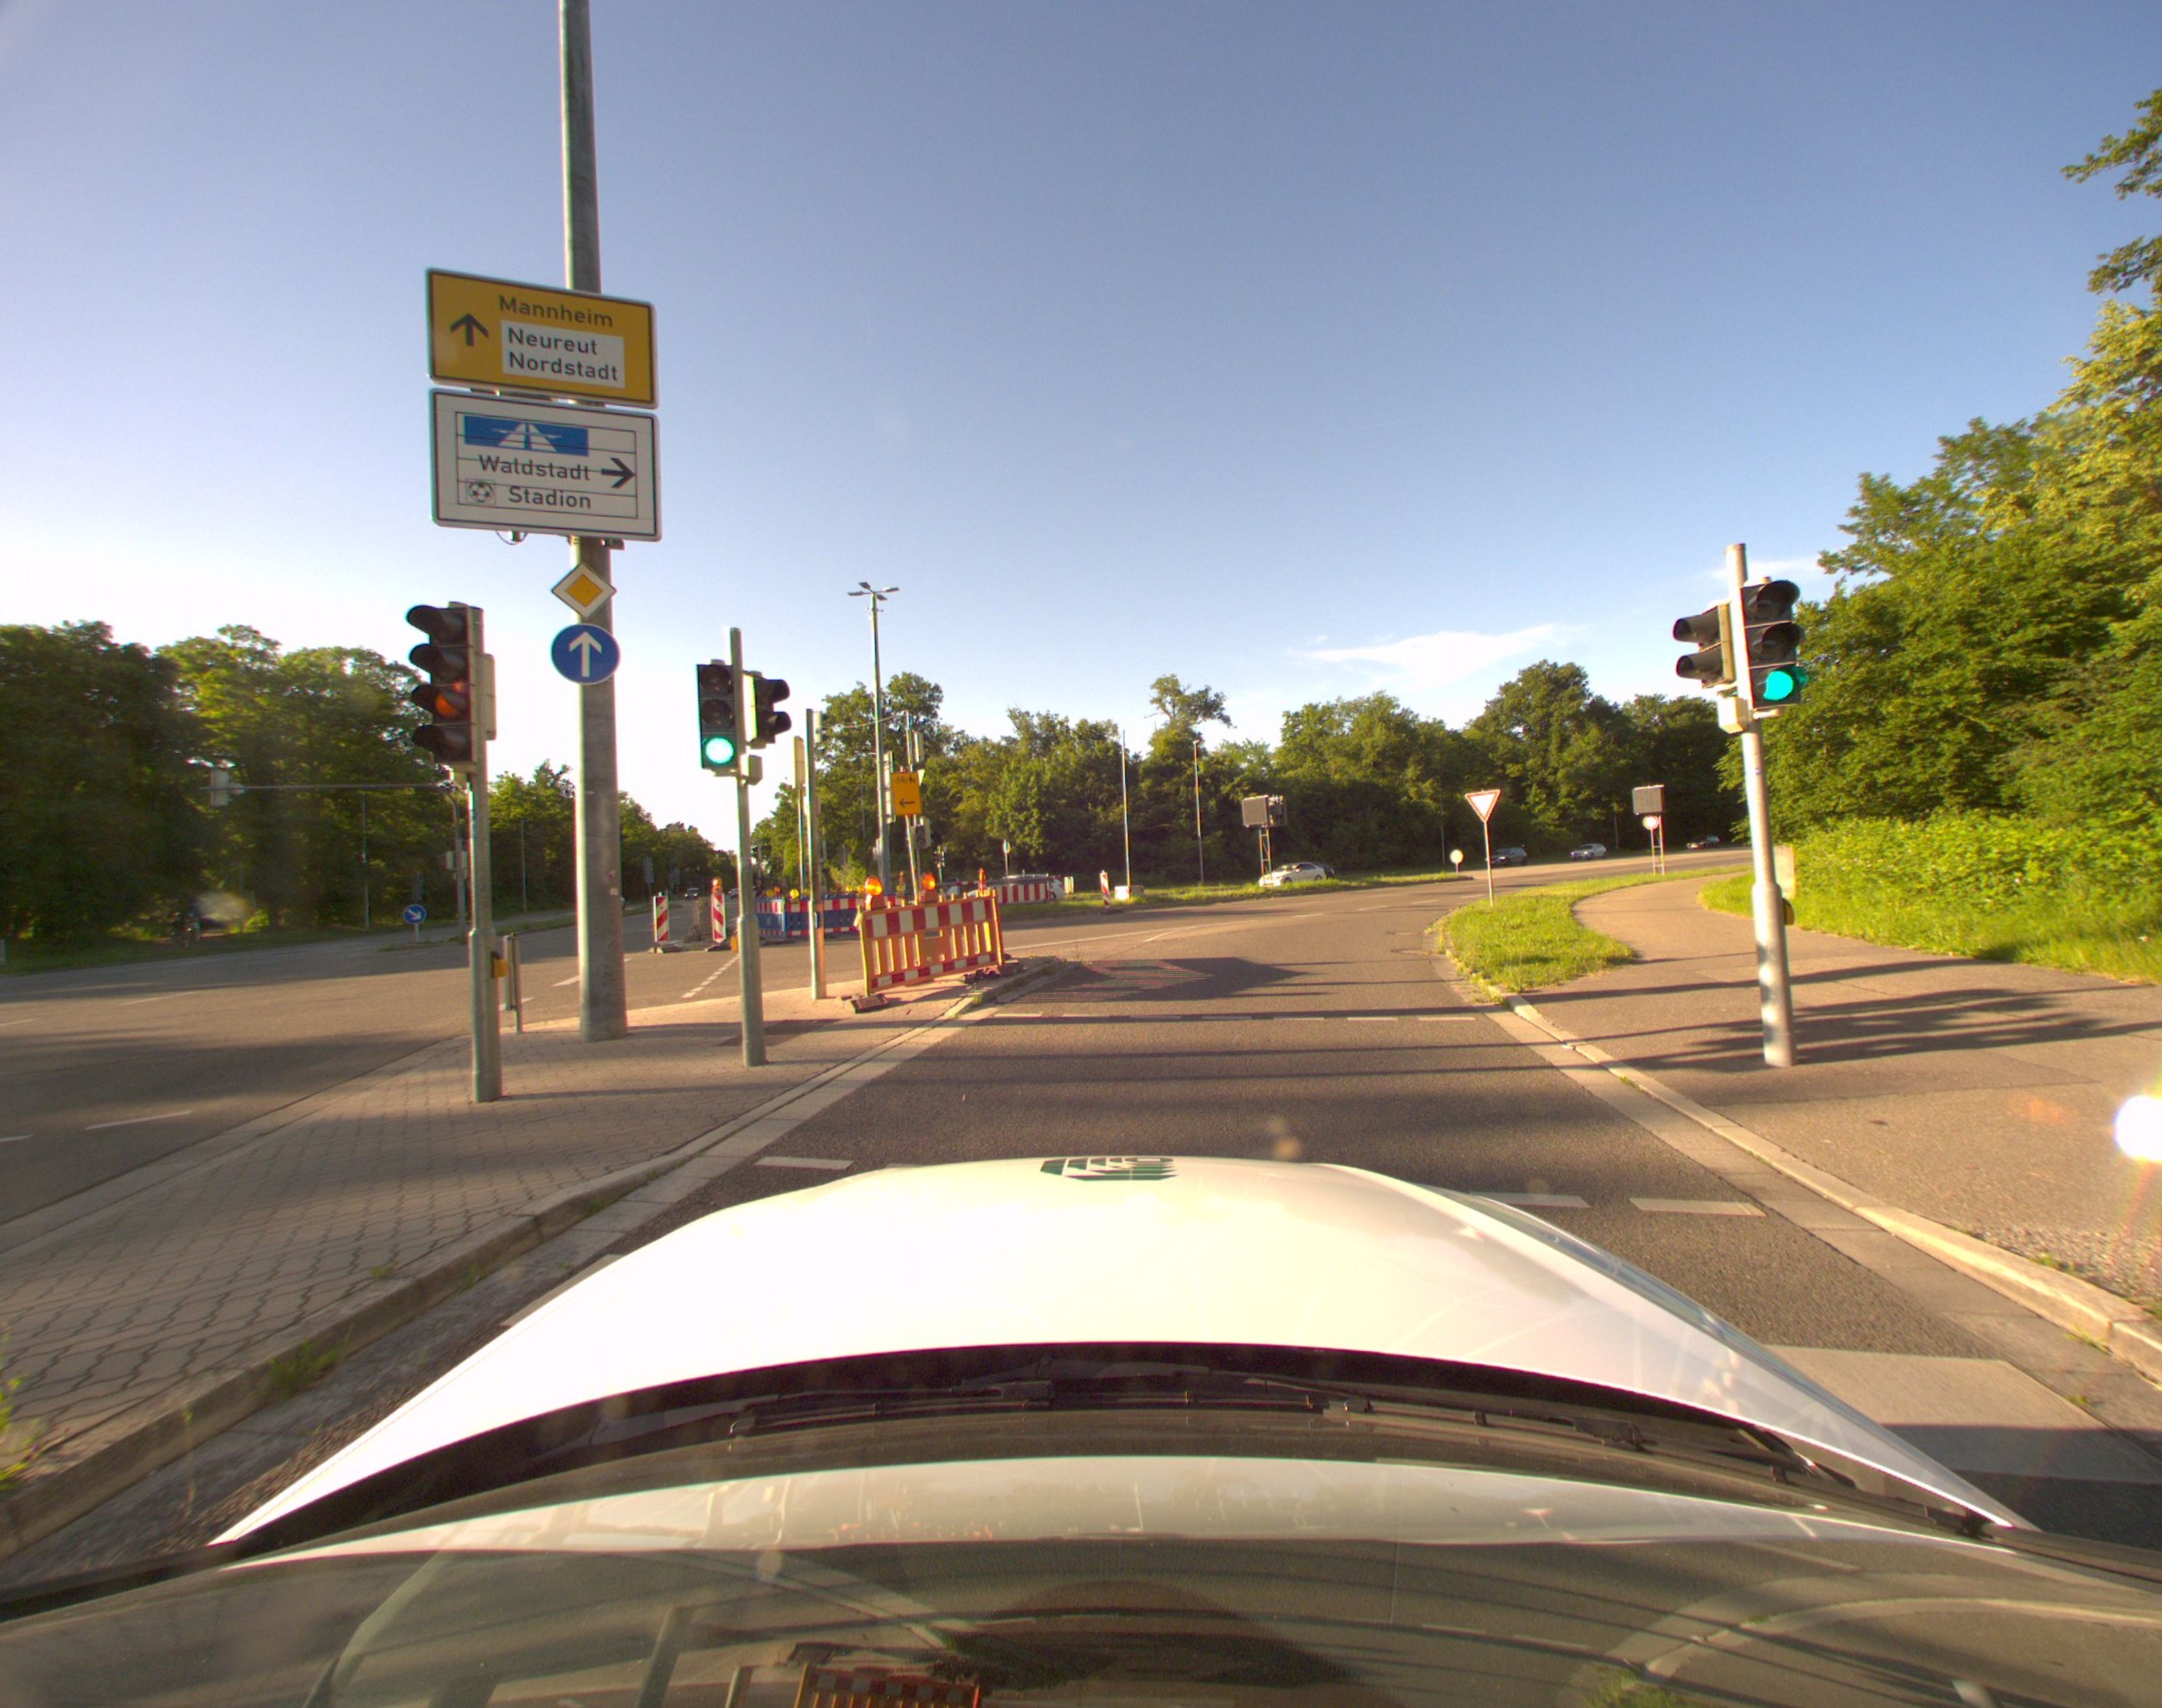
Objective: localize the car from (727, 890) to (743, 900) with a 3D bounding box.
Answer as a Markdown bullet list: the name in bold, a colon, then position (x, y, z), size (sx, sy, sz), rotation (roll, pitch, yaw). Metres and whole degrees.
- **car**: position (-53.851, 6.382, 126.855), size (1.868, 1.444, 3.975), rotation (-2, -2, -18)

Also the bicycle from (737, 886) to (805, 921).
- **bicycle**: position (-13.604, 2.148, 35.837), size (0.956, 1.383, 2.656), rotation (-3, -2, 40)

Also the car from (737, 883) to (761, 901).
- **car**: position (-30.964, 3.517, 76.073), size (2.001, 1.536, 3.971), rotation (-3, -1, -21)

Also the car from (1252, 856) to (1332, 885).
- **car**: position (12.332, 0.962, 47.473), size (4.831, 1.436, 1.977), rotation (-2, -2, -38)

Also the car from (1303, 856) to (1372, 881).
- **car**: position (17.161, 0.954, 54.425), size (4.831, 1.436, 1.977), rotation (-2, -2, -38)

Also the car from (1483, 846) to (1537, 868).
- **car**: position (35.675, 0.231, 67.659), size (4.670, 1.529, 1.978), rotation (-2, -1, -34)

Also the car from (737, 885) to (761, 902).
- **car**: position (-31.216, 3.724, 76.674), size (1.948, 1.414, 3.971), rotation (-3, -1, -21)

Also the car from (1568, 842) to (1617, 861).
- **car**: position (47.555, -0.270, 75.670), size (4.668, 1.529, 1.979), rotation (-2, -1, -33)

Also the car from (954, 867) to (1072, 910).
- **car**: position (-2.933, 1.501, 35.847), size (4.858, 1.581, 1.977), rotation (-2, -2, -39)

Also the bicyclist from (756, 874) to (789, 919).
- **bicyclist**: position (-13.594, 1.850, 35.879), size (0.956, 1.930, 1.022), rotation (-3, -2, 41)

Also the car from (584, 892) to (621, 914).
- **car**: position (-43.653, 4.483, 74.374), size (2.000, 1.789, 4.221), rotation (-3, -1, -19)
